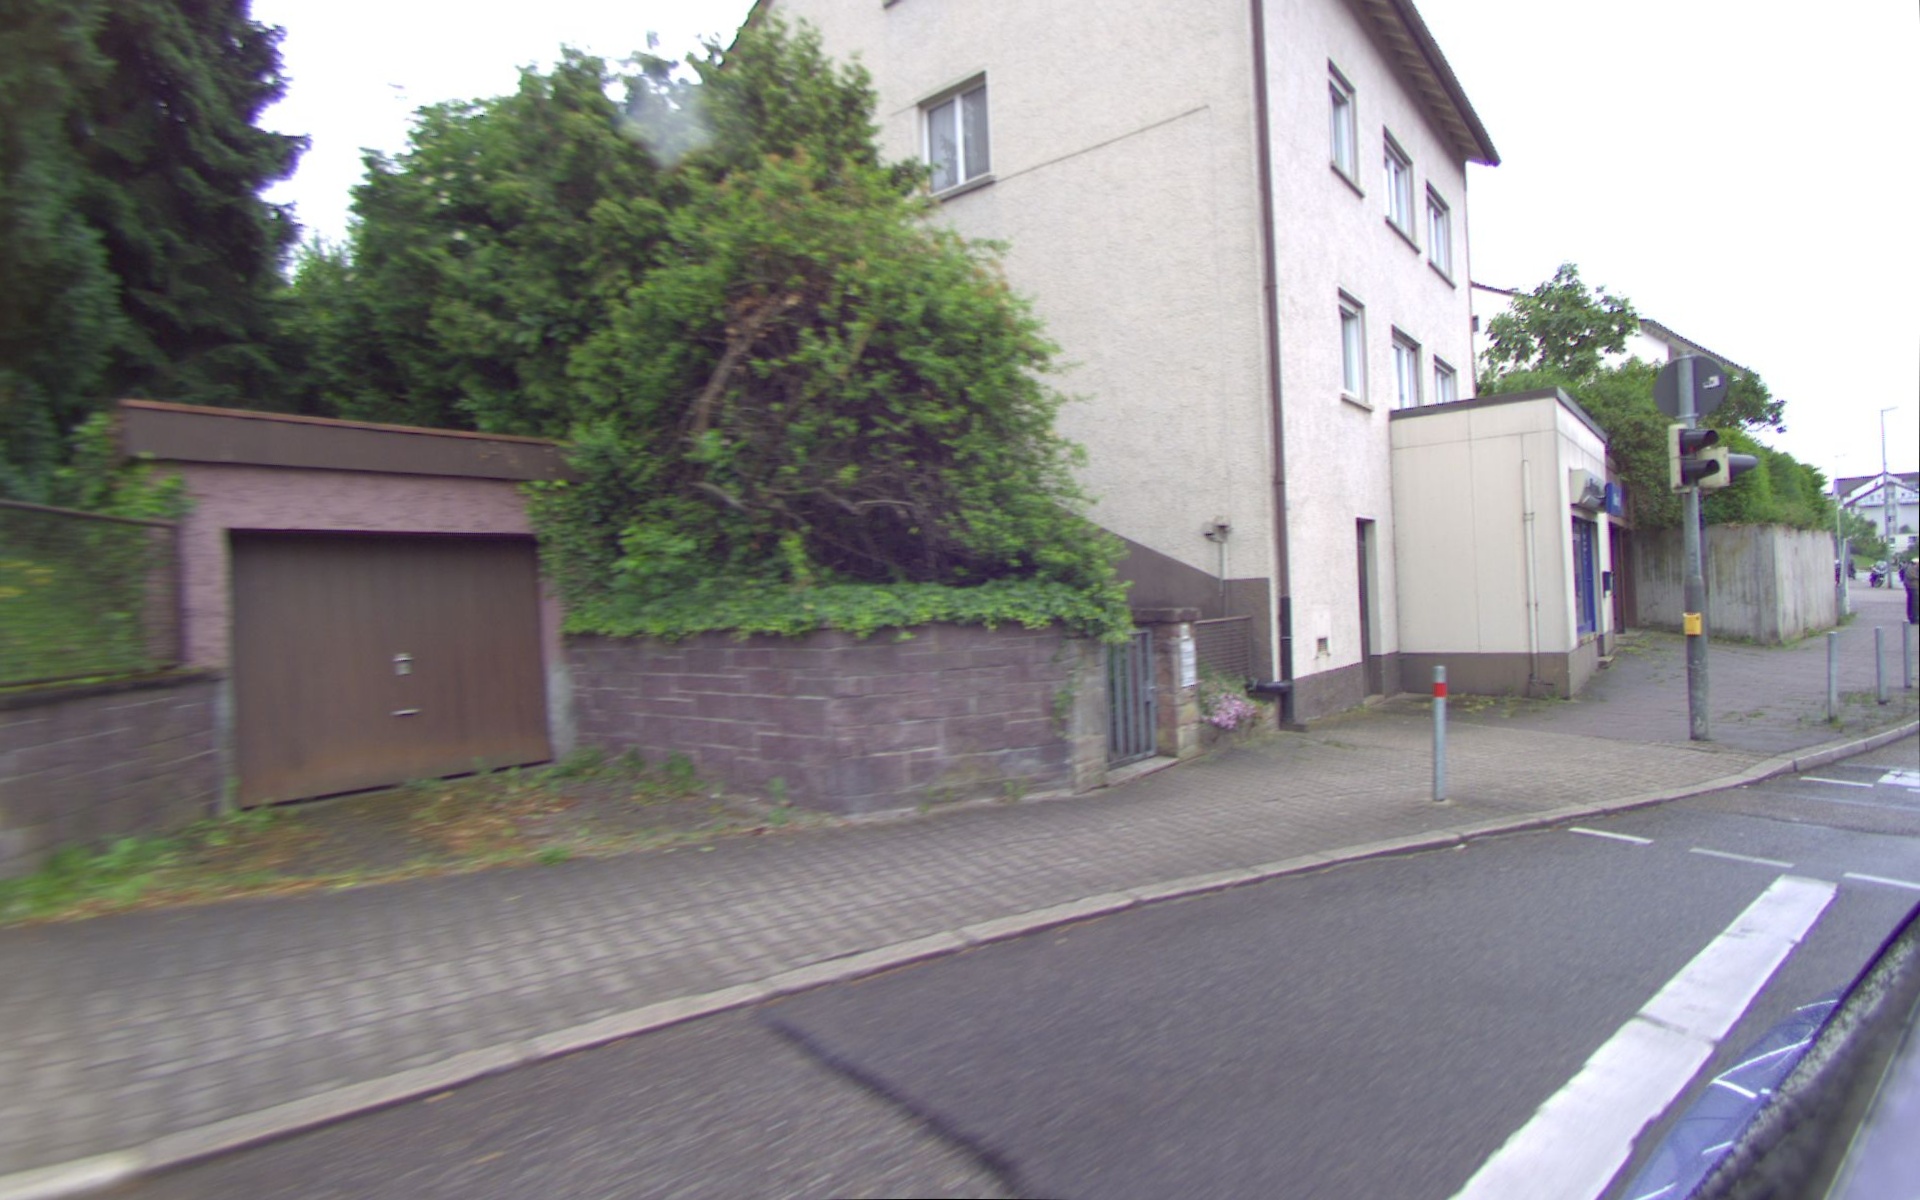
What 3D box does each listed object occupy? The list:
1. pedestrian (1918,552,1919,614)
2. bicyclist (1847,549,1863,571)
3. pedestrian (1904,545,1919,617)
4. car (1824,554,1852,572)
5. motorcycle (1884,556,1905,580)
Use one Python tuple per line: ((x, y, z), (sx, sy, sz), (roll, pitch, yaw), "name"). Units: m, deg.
((28.781, -0.507, 29.802), (0.995, 1.802, 0.794), (-3, 3, -44), "pedestrian")
((69.398, -3.127, 78.469), (0.891, 1.663, 0.809), (-2, 2, -41), "bicyclist")
((27.334, -0.553, 28.663), (0.722, 2.039, 0.797), (-3, 1, -44), "pedestrian")
((76.106, -3.198, 87.757), (1.730, 1.508, 3.944), (0, 2, 39), "car")
((55.766, -1.926, 60.393), (0.690, 1.341, 2.446), (0, 2, 38), "motorcycle")
